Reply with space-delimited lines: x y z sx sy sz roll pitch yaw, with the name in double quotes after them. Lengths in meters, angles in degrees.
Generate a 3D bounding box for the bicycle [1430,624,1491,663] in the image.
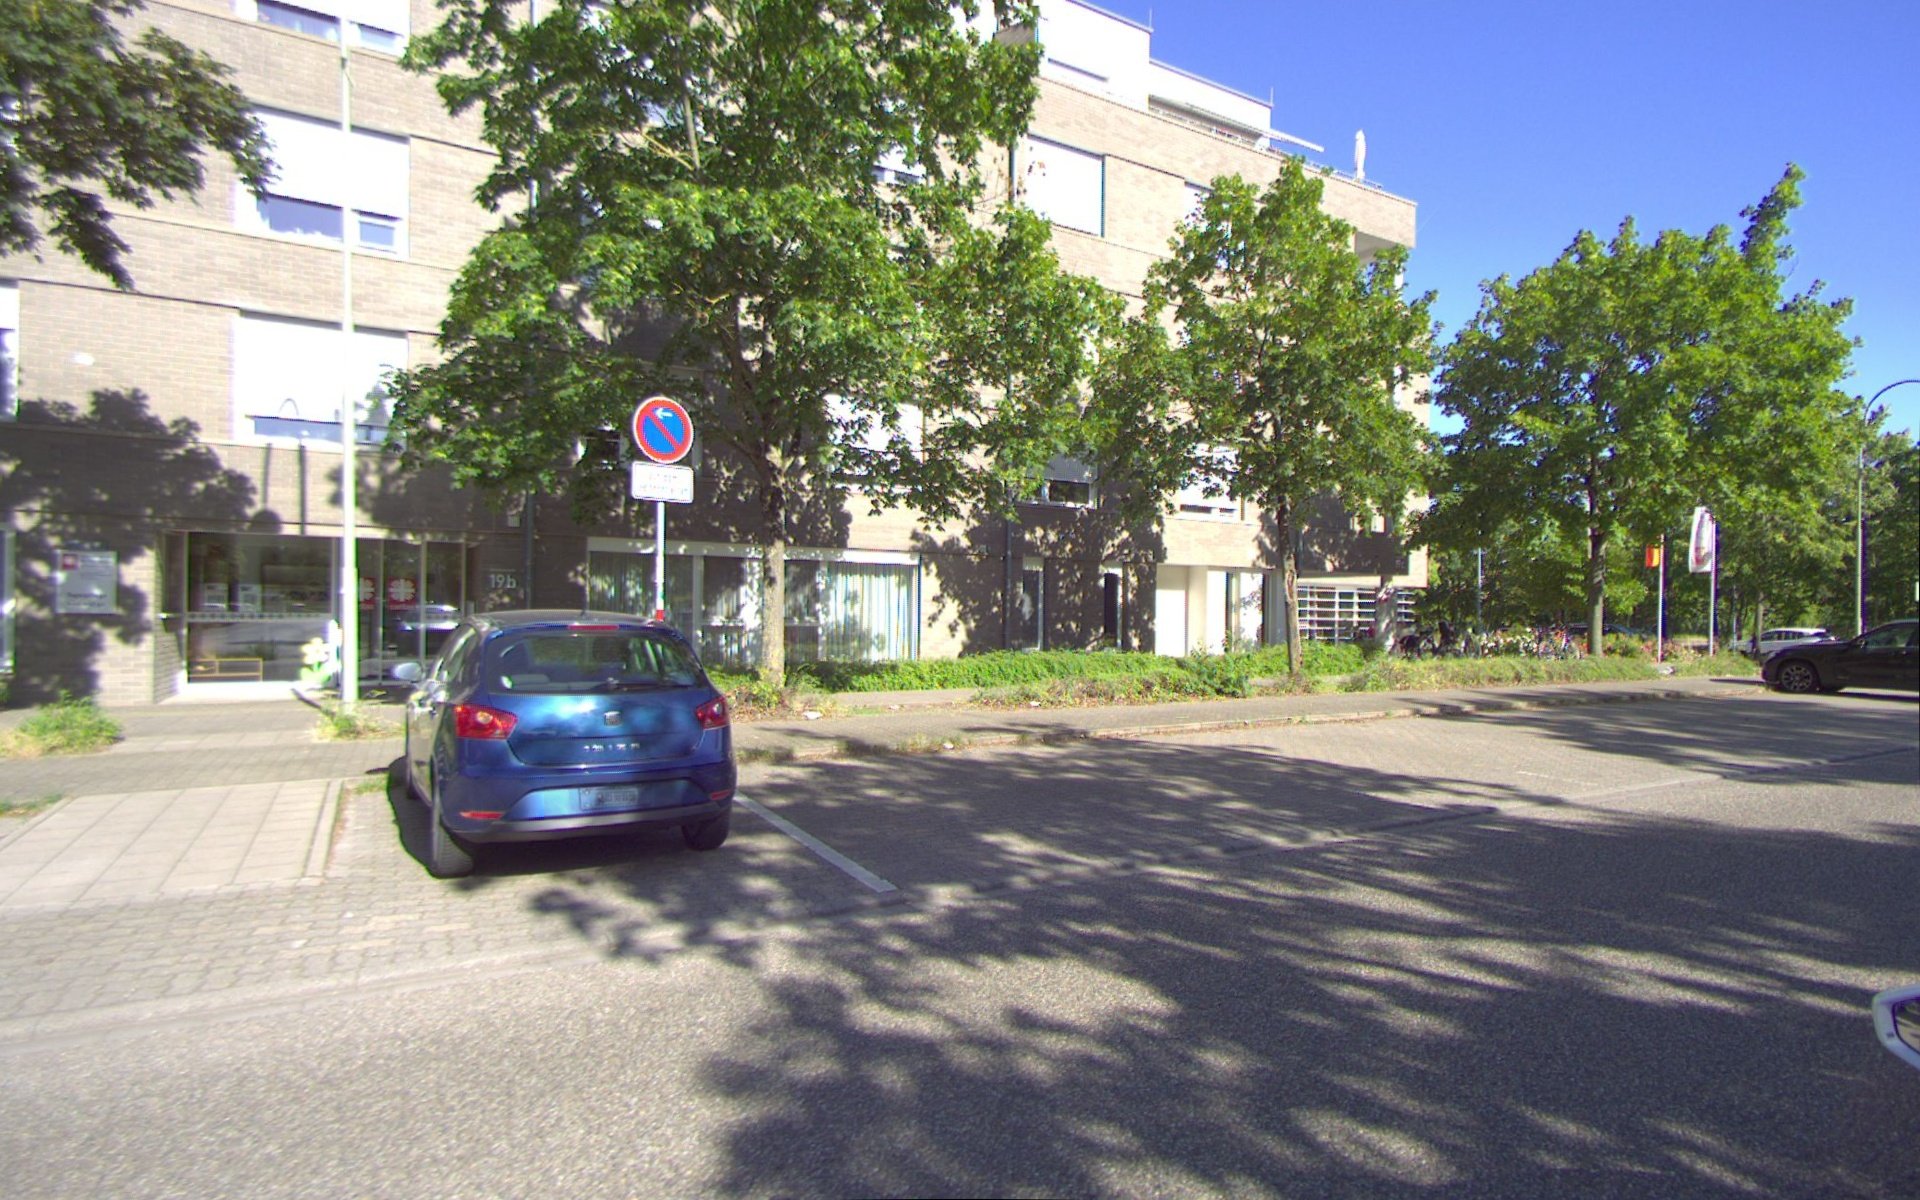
14.206 1.238 28.487 2.167 1.061 0.435 1 0 -30 "bicycle"

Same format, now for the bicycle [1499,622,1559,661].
16.075 1.179 28.345 2.167 1.061 0.435 1 0 -30 "bicycle"

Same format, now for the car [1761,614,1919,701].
18.217 1.092 19.215 1.750 1.540 4.174 1 0 -29 "car"

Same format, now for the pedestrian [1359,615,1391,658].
13.731 1.207 33.238 0.736 1.379 0.665 1 -1 -29 "pedestrian"

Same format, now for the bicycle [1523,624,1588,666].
15.547 1.164 26.206 2.167 1.061 0.435 1 0 -30 "bicycle"

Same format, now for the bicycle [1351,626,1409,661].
13.004 1.343 31.056 2.167 1.061 0.435 1 0 -30 "bicycle"

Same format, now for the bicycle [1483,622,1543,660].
15.851 1.166 28.784 2.167 1.061 0.435 1 0 -30 "bicycle"

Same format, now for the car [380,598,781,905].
-2.864 0.737 6.961 1.798 1.430 3.963 1 0 -33 "car"

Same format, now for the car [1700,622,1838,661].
32.778 1.685 40.799 1.604 1.470 4.061 1 -3 -28 "car"

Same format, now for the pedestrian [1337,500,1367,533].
10.548 -2.242 27.031 0.360 0.809 0.676 1 0 -37 "pedestrian"

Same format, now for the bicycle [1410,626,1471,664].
14.041 1.298 29.338 2.167 1.061 0.435 1 0 -30 "bicycle"

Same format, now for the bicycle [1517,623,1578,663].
16.318 1.195 27.889 2.167 1.061 0.435 1 0 -30 "bicycle"

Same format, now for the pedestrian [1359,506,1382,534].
11.145 -2.163 27.253 0.424 0.695 0.412 1 0 -39 "pedestrian"

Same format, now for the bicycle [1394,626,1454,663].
13.783 1.304 29.805 2.167 1.061 0.435 1 0 -30 "bicycle"

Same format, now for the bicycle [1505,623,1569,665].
15.307 1.161 26.622 2.167 1.061 0.435 1 0 -30 "bicycle"
